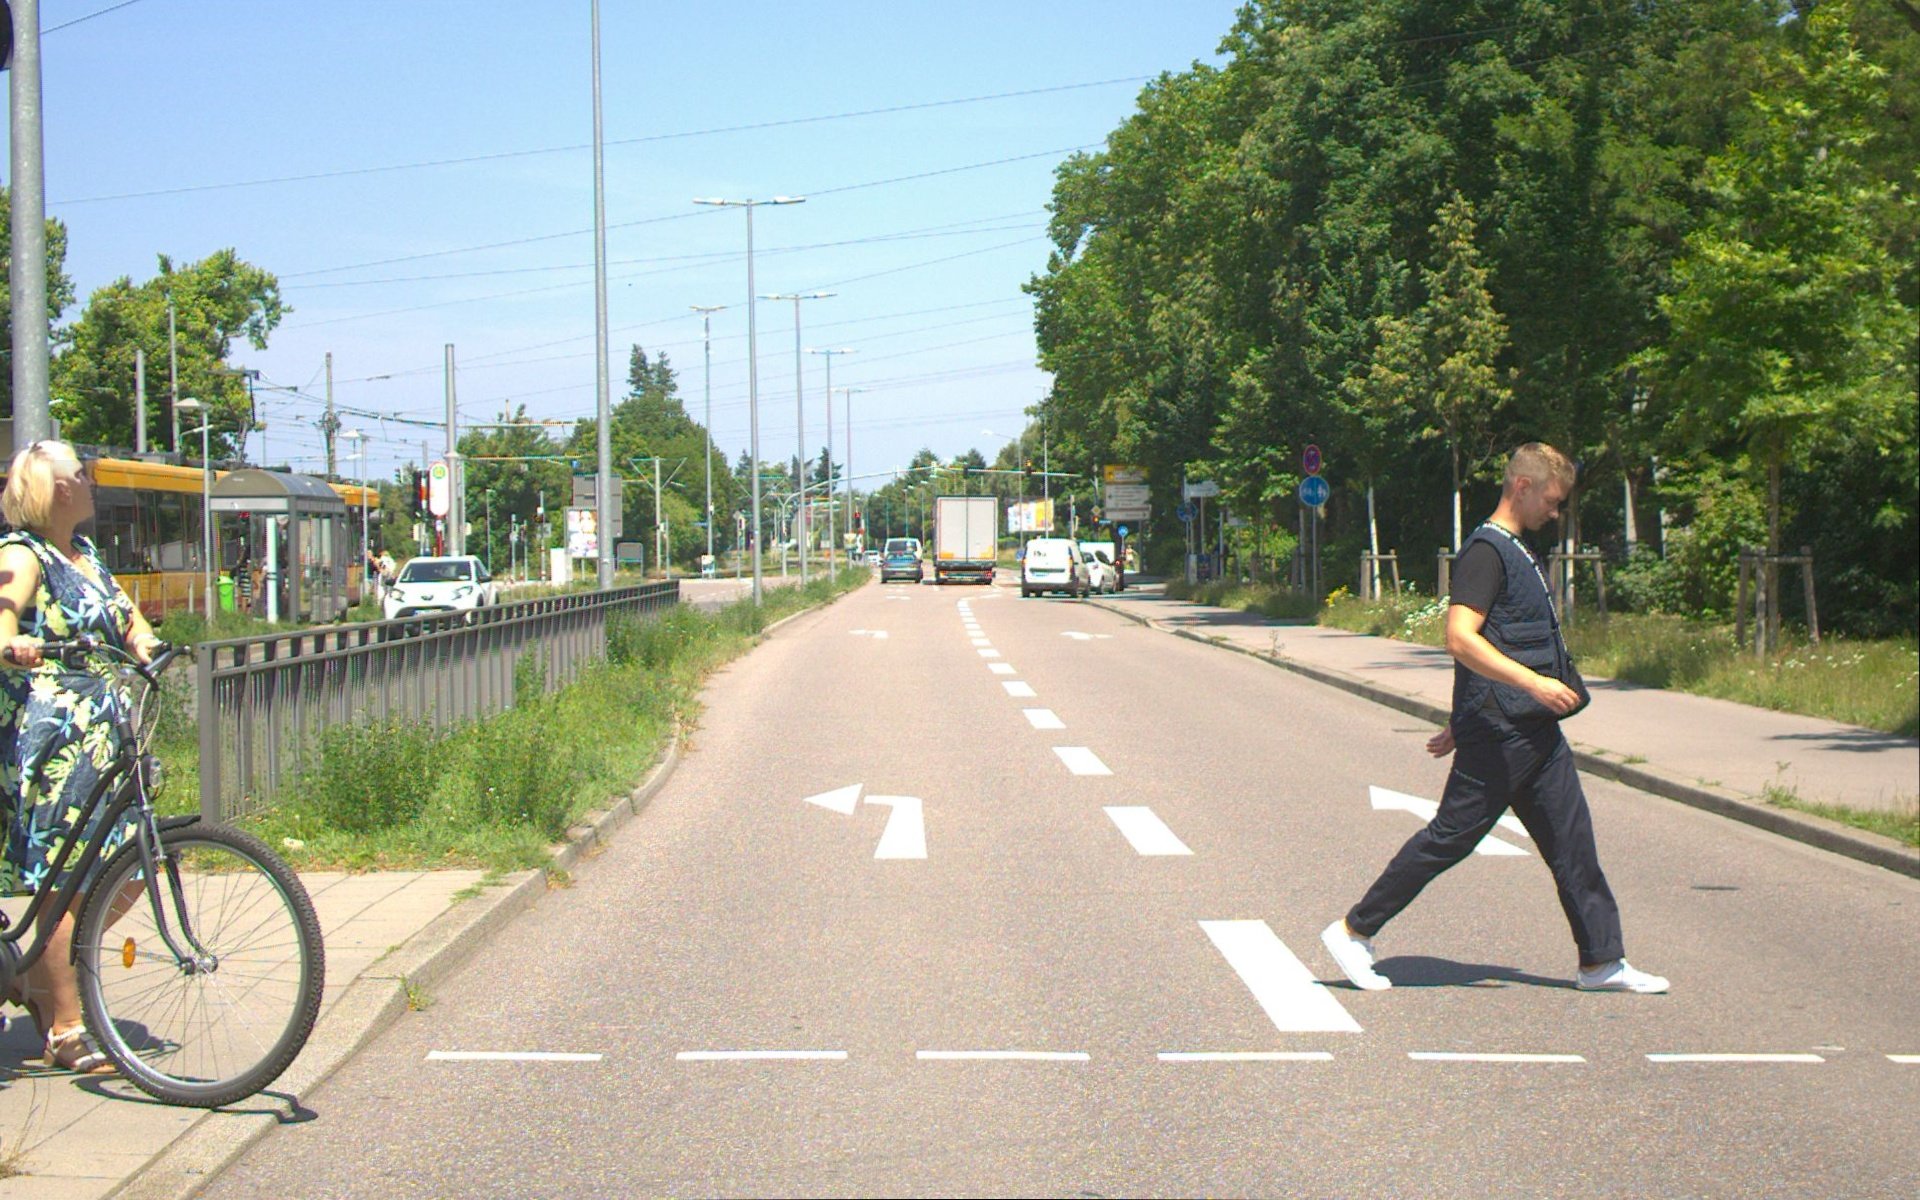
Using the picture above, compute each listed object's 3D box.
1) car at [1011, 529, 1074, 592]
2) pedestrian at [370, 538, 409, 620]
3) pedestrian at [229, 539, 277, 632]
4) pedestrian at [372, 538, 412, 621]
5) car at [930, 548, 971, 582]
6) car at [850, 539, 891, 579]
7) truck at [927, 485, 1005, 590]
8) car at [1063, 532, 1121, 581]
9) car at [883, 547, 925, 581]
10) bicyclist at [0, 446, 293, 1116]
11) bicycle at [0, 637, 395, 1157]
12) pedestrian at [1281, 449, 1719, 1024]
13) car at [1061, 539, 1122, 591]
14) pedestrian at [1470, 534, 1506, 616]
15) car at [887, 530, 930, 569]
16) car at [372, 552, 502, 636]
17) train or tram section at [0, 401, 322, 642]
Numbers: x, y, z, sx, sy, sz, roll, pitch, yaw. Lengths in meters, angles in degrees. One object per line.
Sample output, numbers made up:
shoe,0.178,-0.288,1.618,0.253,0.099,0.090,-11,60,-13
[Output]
car,2.518,-1.230,105.621,1.779,1.897,4.000,0,1,-1
pedestrian,-14.096,-0.527,84.955,0.815,2.007,0.938,0,1,-1
pedestrian,-14.258,-0.303,69.309,0.785,1.862,0.817,0,1,-1
pedestrian,-13.818,-0.510,83.661,0.815,2.007,0.938,0,1,-1
car,-0.433,-1.567,153.624,1.811,1.459,4.000,0,1,-1
car,-4.553,-2.086,175.172,1.993,2.007,4.000,0,1,-1
truck,0.212,-2.642,146.117,3.205,4.344,6.561,0,1,-1
car,4.547,-1.523,118.795,1.779,1.663,4.000,0,1,-1
car,-2.448,-1.606,151.895,1.811,1.459,4.000,0,1,-1
bicyclist,-2.351,0.441,9.083,0.958,1.661,0.580,3,3,17
bicycle,-2.465,0.697,8.774,1.959,1.157,0.541,3,3,18
pedestrian,1.774,0.421,11.270,1.187,1.772,0.838,0,-1,30
car,4.297,-1.158,112.452,1.779,1.663,4.000,0,1,-1
pedestrian,9.312,-0.441,60.629,0.604,1.433,0.556,0,1,6
car,-2.462,-2.373,163.459,1.993,1.809,4.000,1,1,-1
car,-9.640,-0.132,63.600,1.845,1.489,3.791,0,1,-1
train or tram section,-16.629,-1.438,66.043,2.931,3.776,33.090,0,1,-1
